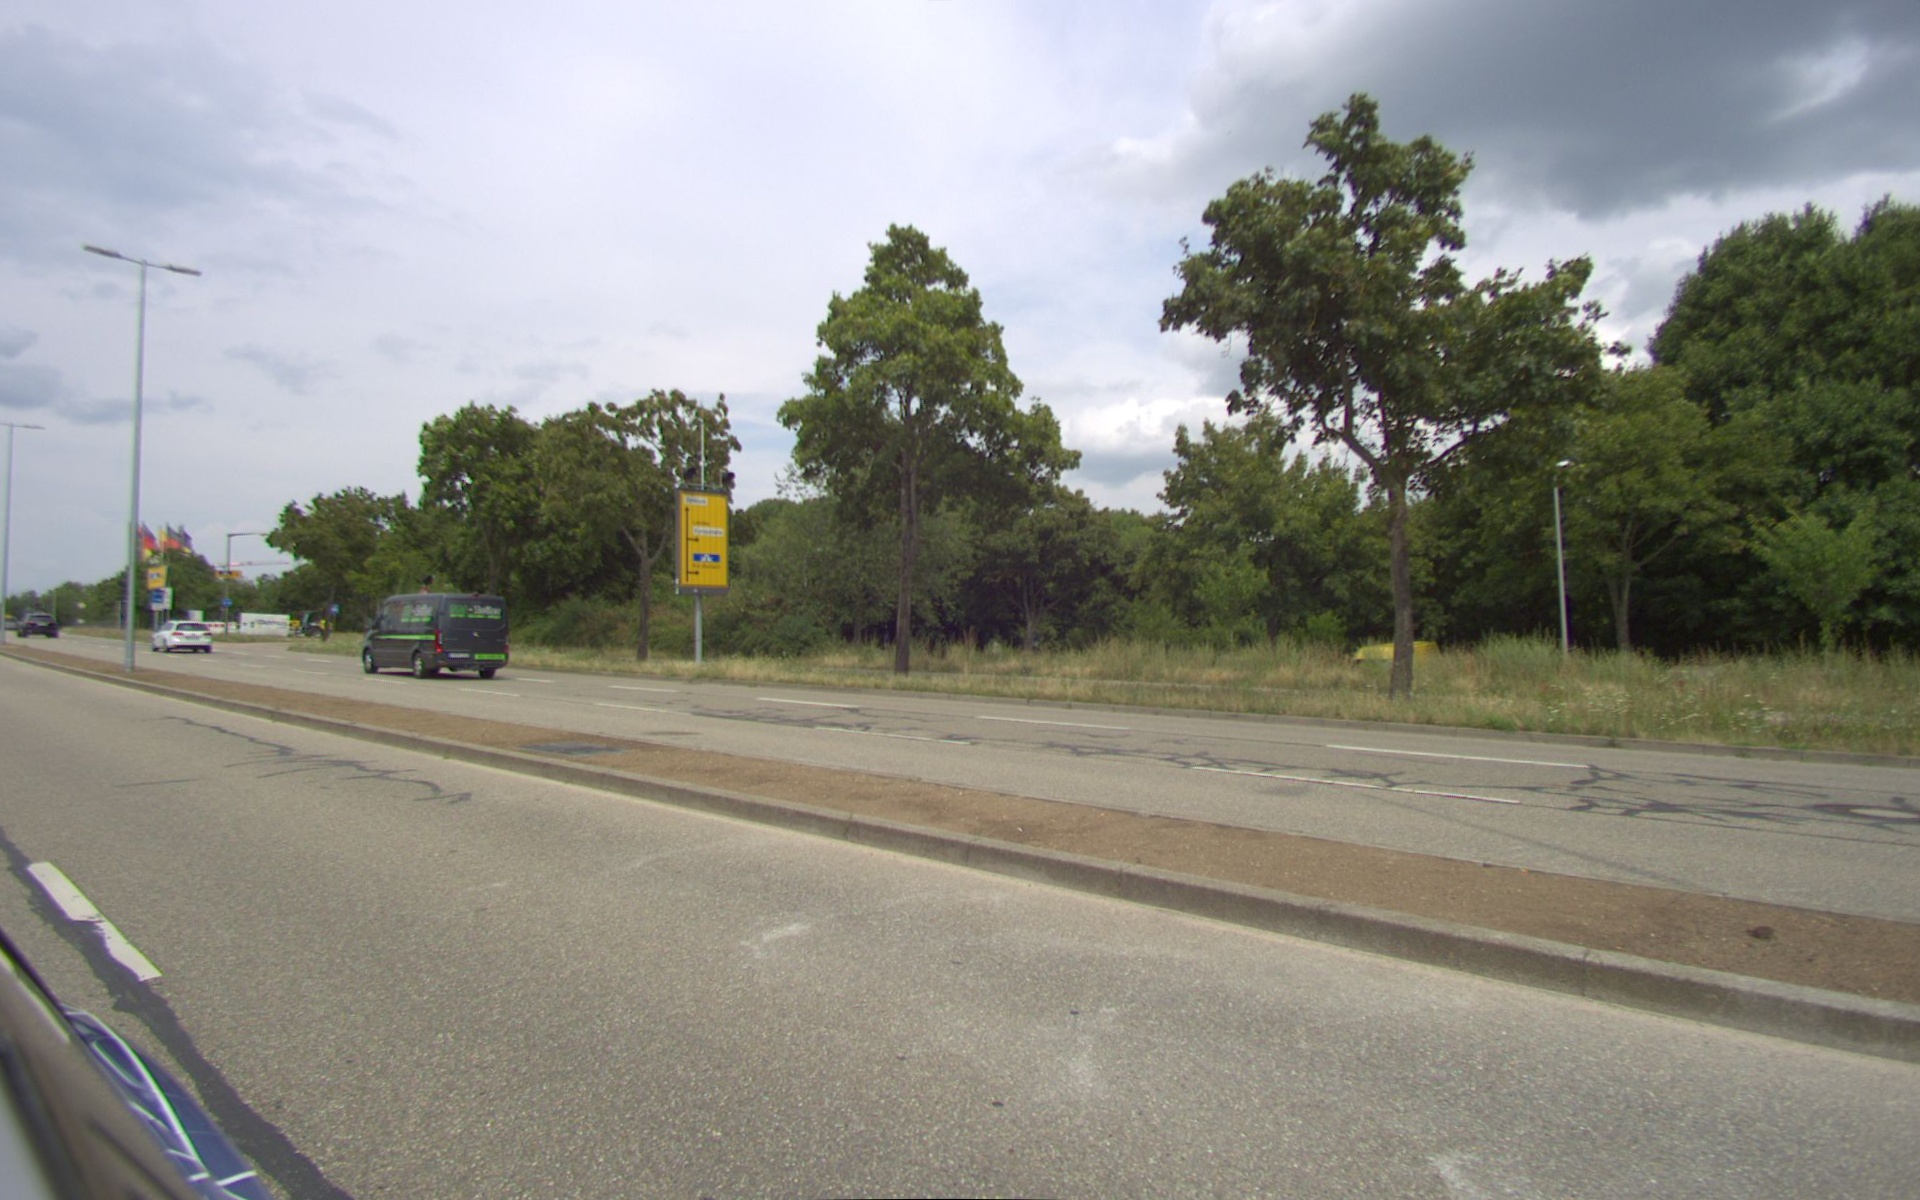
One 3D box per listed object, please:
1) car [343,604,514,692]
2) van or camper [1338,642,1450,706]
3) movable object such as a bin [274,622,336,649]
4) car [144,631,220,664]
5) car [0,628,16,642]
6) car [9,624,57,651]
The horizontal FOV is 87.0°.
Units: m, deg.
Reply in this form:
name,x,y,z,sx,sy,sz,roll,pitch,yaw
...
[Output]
name,x,y,z,sx,sy,sz,roll,pitch,yaw
car,-14.916,1.344,28.214,5.999,2.218,2.074,-2,-4,40
van or camper,15.863,2.633,36.917,4.299,2.029,2.003,-1,-1,-40
movable object such as a bin,-62.059,3.376,96.000,1.993,2.415,4.543,-3,-3,32
car,-36.130,2.216,46.986,4.687,1.442,1.972,-3,-4,42
car,-131.554,4.777,139.290,4.538,1.823,1.882,-3,-3,42
car,-67.722,2.769,73.927,4.794,1.825,1.973,-3,-4,41
